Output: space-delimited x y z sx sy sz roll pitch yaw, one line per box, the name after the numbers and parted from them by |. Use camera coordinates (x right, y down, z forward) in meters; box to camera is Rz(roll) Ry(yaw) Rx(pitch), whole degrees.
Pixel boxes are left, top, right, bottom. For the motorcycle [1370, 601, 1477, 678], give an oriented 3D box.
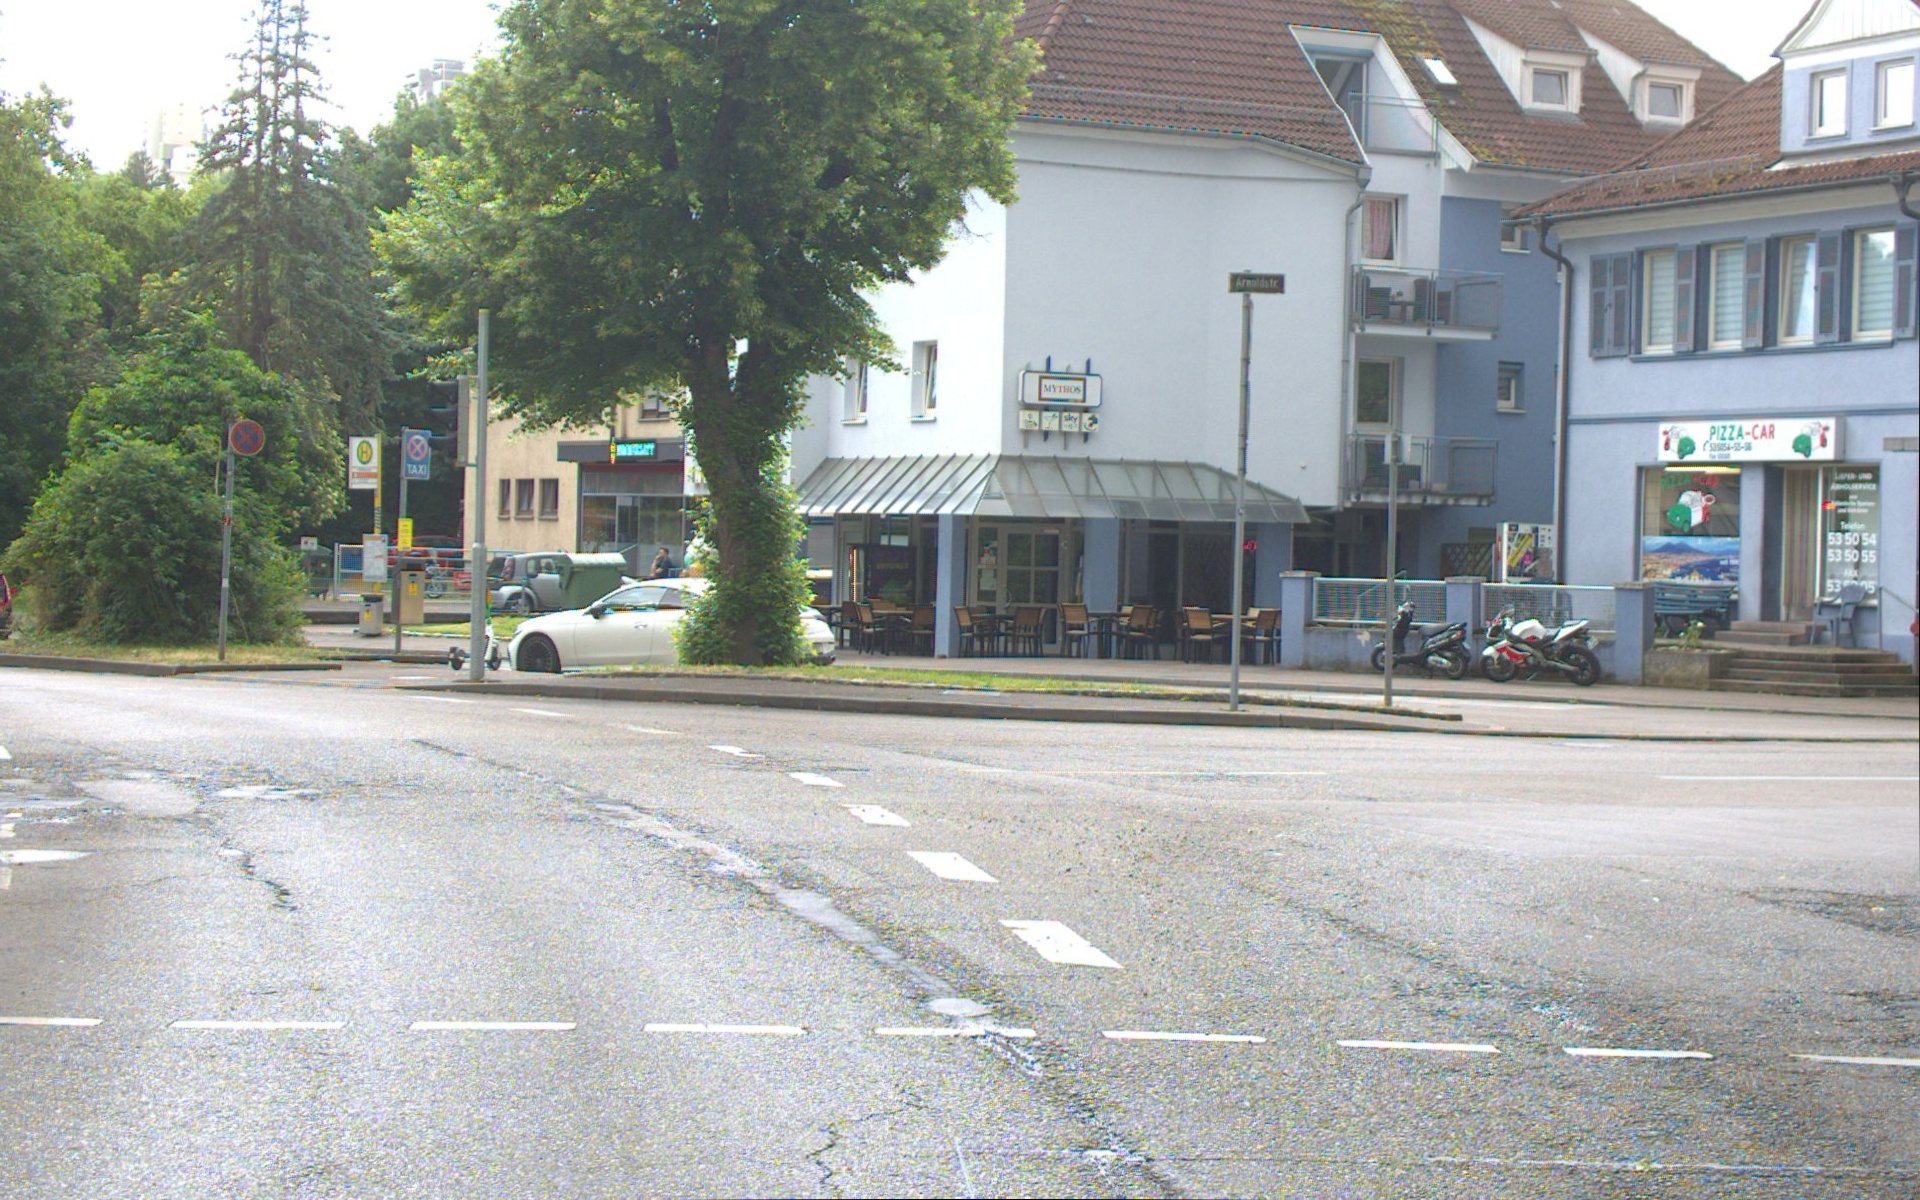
6.756 0.567 50.151 1.458 1.085 0.523 1 1 35 | motorcycle

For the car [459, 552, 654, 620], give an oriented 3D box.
-8.883 -0.313 75.641 3.936 1.437 1.753 1 1 -20 | car

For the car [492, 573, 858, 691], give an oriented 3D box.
-3.821 0.397 45.774 4.709 1.405 1.899 2 1 35 | car

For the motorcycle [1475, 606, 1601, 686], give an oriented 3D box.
8.132 0.640 48.382 1.628 1.085 0.626 1 1 32 | motorcycle

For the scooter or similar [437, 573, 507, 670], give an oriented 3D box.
-6.045 0.261 42.629 0.442 1.171 1.437 1 1 9 | scooter or similar

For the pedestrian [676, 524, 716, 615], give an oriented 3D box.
-4.547 -0.527 59.211 0.543 1.554 0.467 1 0 13 | pedestrian

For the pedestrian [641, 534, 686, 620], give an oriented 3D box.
-6.974 -0.551 80.821 0.837 2.007 1.056 1 1 -14 | pedestrian

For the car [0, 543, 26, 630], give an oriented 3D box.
-16.439 -0.248 53.530 3.322 1.347 1.778 1 1 27 | car
